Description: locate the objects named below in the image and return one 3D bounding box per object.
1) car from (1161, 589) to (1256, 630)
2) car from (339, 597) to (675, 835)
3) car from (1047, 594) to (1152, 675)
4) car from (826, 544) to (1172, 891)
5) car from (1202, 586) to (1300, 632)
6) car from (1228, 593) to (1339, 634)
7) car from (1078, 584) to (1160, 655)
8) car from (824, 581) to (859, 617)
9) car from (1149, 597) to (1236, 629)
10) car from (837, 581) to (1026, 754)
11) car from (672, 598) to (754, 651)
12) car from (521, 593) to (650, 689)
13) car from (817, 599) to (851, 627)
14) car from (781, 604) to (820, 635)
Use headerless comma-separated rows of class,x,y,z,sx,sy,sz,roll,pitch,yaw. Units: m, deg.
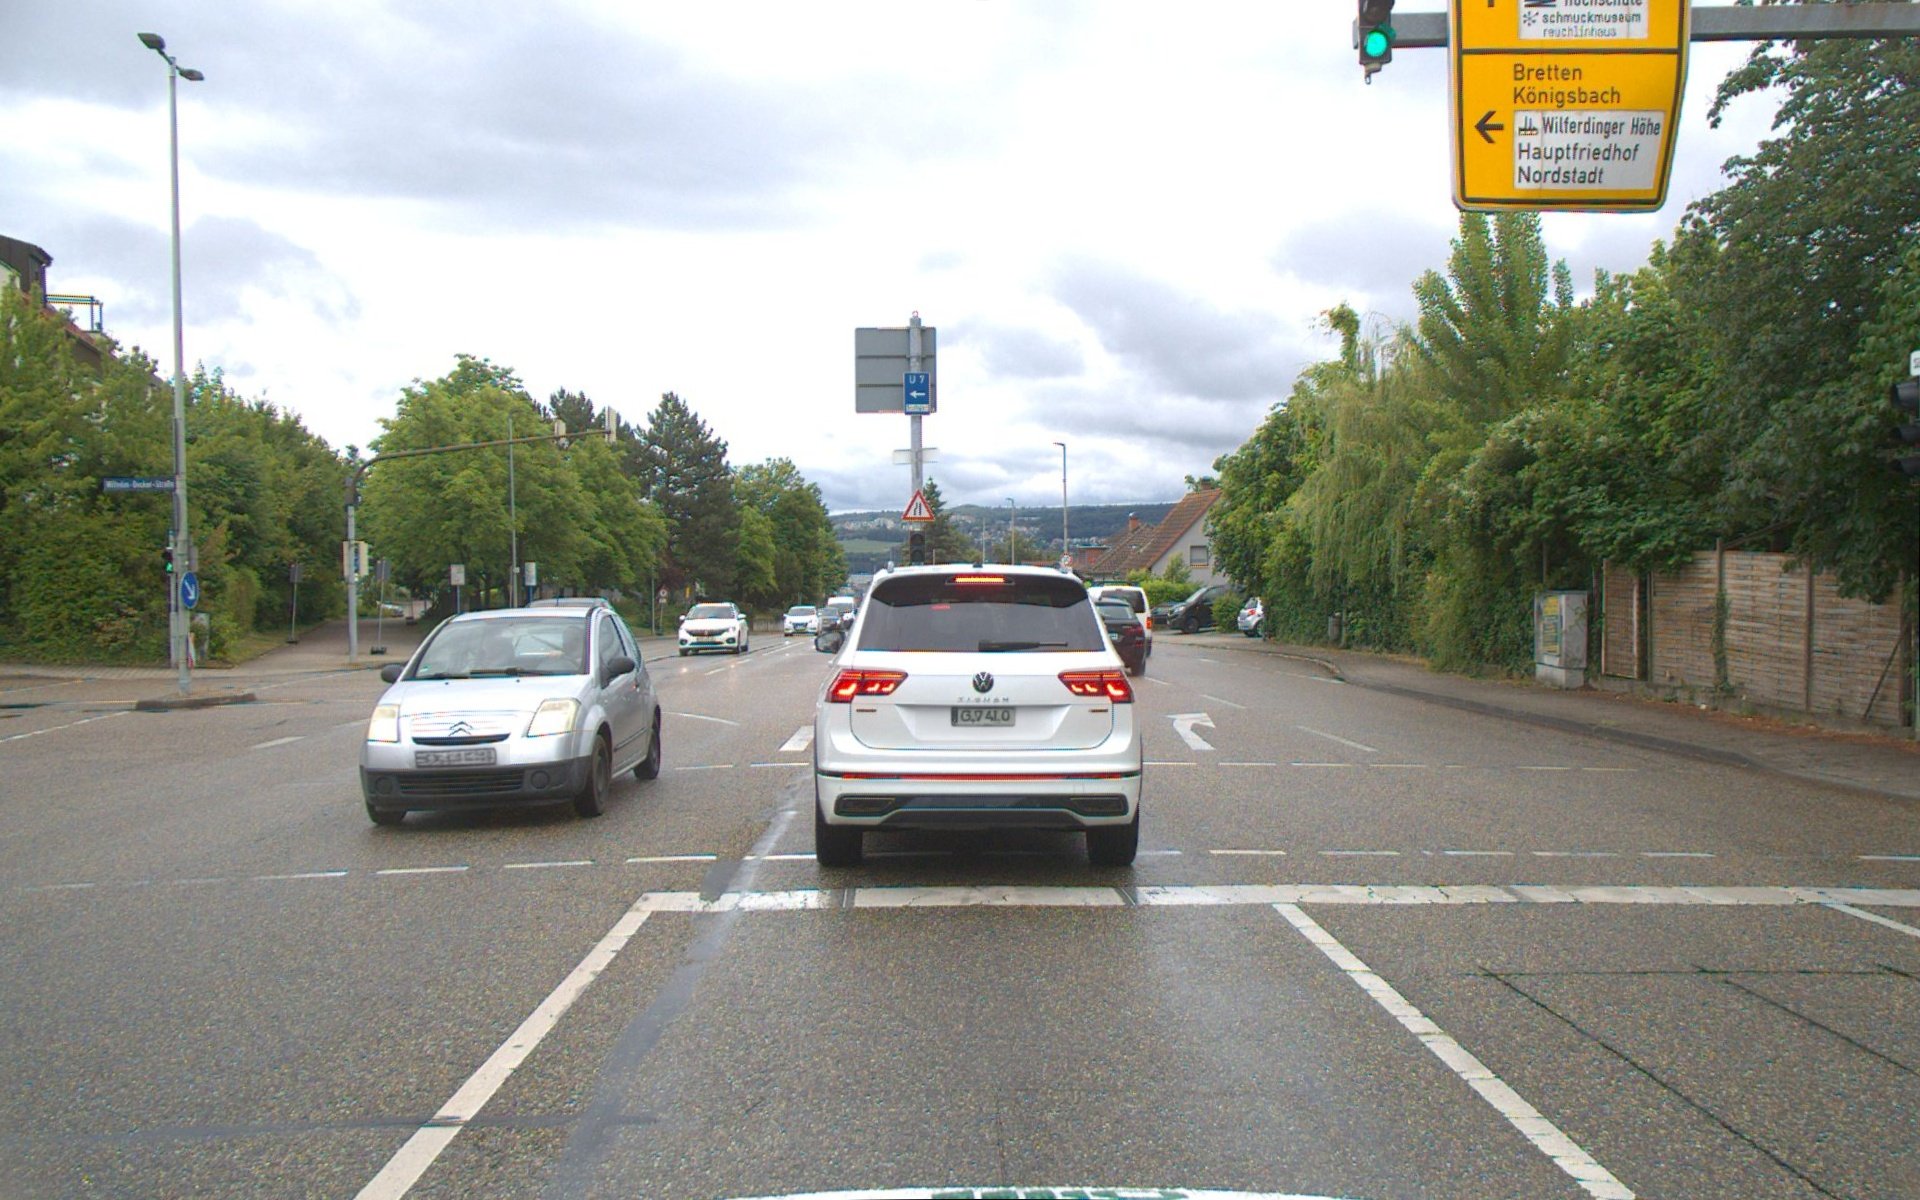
car,10.246,0.392,68.364,3.556,1.654,1.790,0,0,-5
car,-3.260,0.748,12.553,1.606,1.485,3.518,-2,0,-1
car,2.700,0.640,32.804,1.646,1.485,3.801,0,0,-2
car,0.147,0.570,10.403,1.727,1.725,4.271,0,0,-1
car,11.606,0.356,66.057,3.556,1.777,1.707,0,1,-4
car,11.841,0.512,60.657,3.644,1.420,1.725,-1,-1,-8
car,4.195,0.490,44.081,1.677,1.789,3.801,-1,0,-2
car,-8.506,-0.084,119.480,2.251,2.572,5.772,0,0,-1
car,10.267,0.591,73.086,3.613,1.394,1.518,0,-2,-2
car,-0.272,0.627,17.458,1.762,1.617,3.926,0,0,0
car,-7.327,0.702,49.466,1.928,1.480,4.307,1,0,-2
car,-6.816,0.707,30.410,1.665,1.627,3.548,-1,0,-2
car,-7.387,0.760,97.292,1.740,1.528,4.470,-3,0,-2
car,-7.896,0.957,82.198,1.711,1.421,3.800,-1,0,-2
